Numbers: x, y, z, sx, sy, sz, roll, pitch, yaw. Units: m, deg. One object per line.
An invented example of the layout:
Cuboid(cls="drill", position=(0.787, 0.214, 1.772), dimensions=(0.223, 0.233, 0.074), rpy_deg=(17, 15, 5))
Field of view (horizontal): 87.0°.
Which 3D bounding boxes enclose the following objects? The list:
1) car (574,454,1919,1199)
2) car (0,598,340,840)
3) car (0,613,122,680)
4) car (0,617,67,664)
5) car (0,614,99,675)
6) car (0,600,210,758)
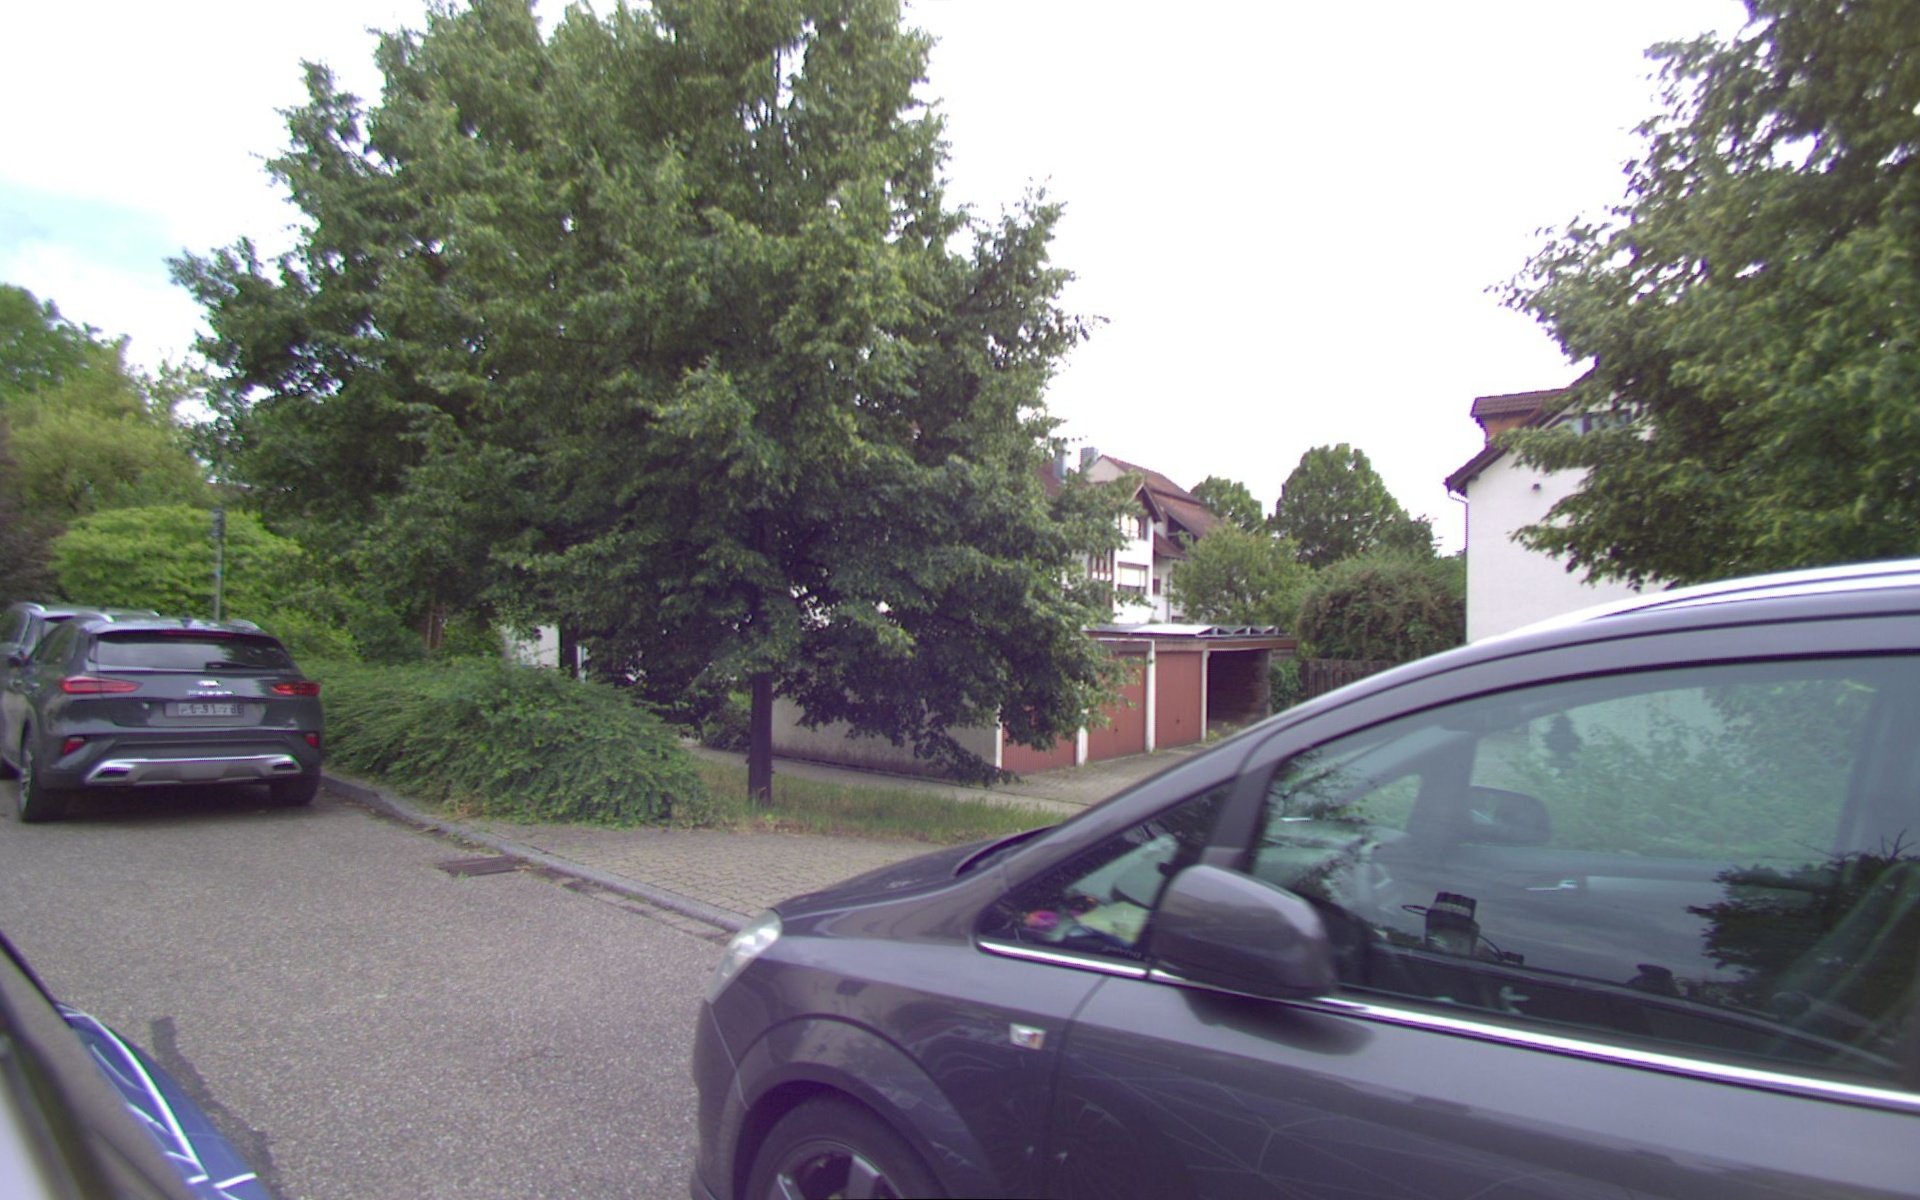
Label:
Cuboid(cls="car", position=(1.450, 0.728, 1.503), dimensions=(4.549, 1.606, 1.739), rpy_deg=(-1, -4, 40))
Cuboid(cls="car", position=(-6.926, 0.831, 8.524), dimensions=(4.194, 1.543, 1.723), rpy_deg=(-1, -4, 42))
Cuboid(cls="car", position=(-22.003, 1.045, 23.306), dimensions=(1.683, 1.502, 3.985), rpy_deg=(1, -2, 12))
Cuboid(cls="car", position=(-28.810, 1.167, 29.448), dimensions=(1.683, 1.385, 3.985), rpy_deg=(1, -2, 12))
Cuboid(cls="car", position=(-24.265, 1.090, 25.285), dimensions=(1.683, 1.502, 3.985), rpy_deg=(1, -2, 12))
Cuboid(cls="car", position=(-10.562, 0.830, 11.803), dimensions=(4.244, 1.543, 1.725), rpy_deg=(0, -4, 37))
